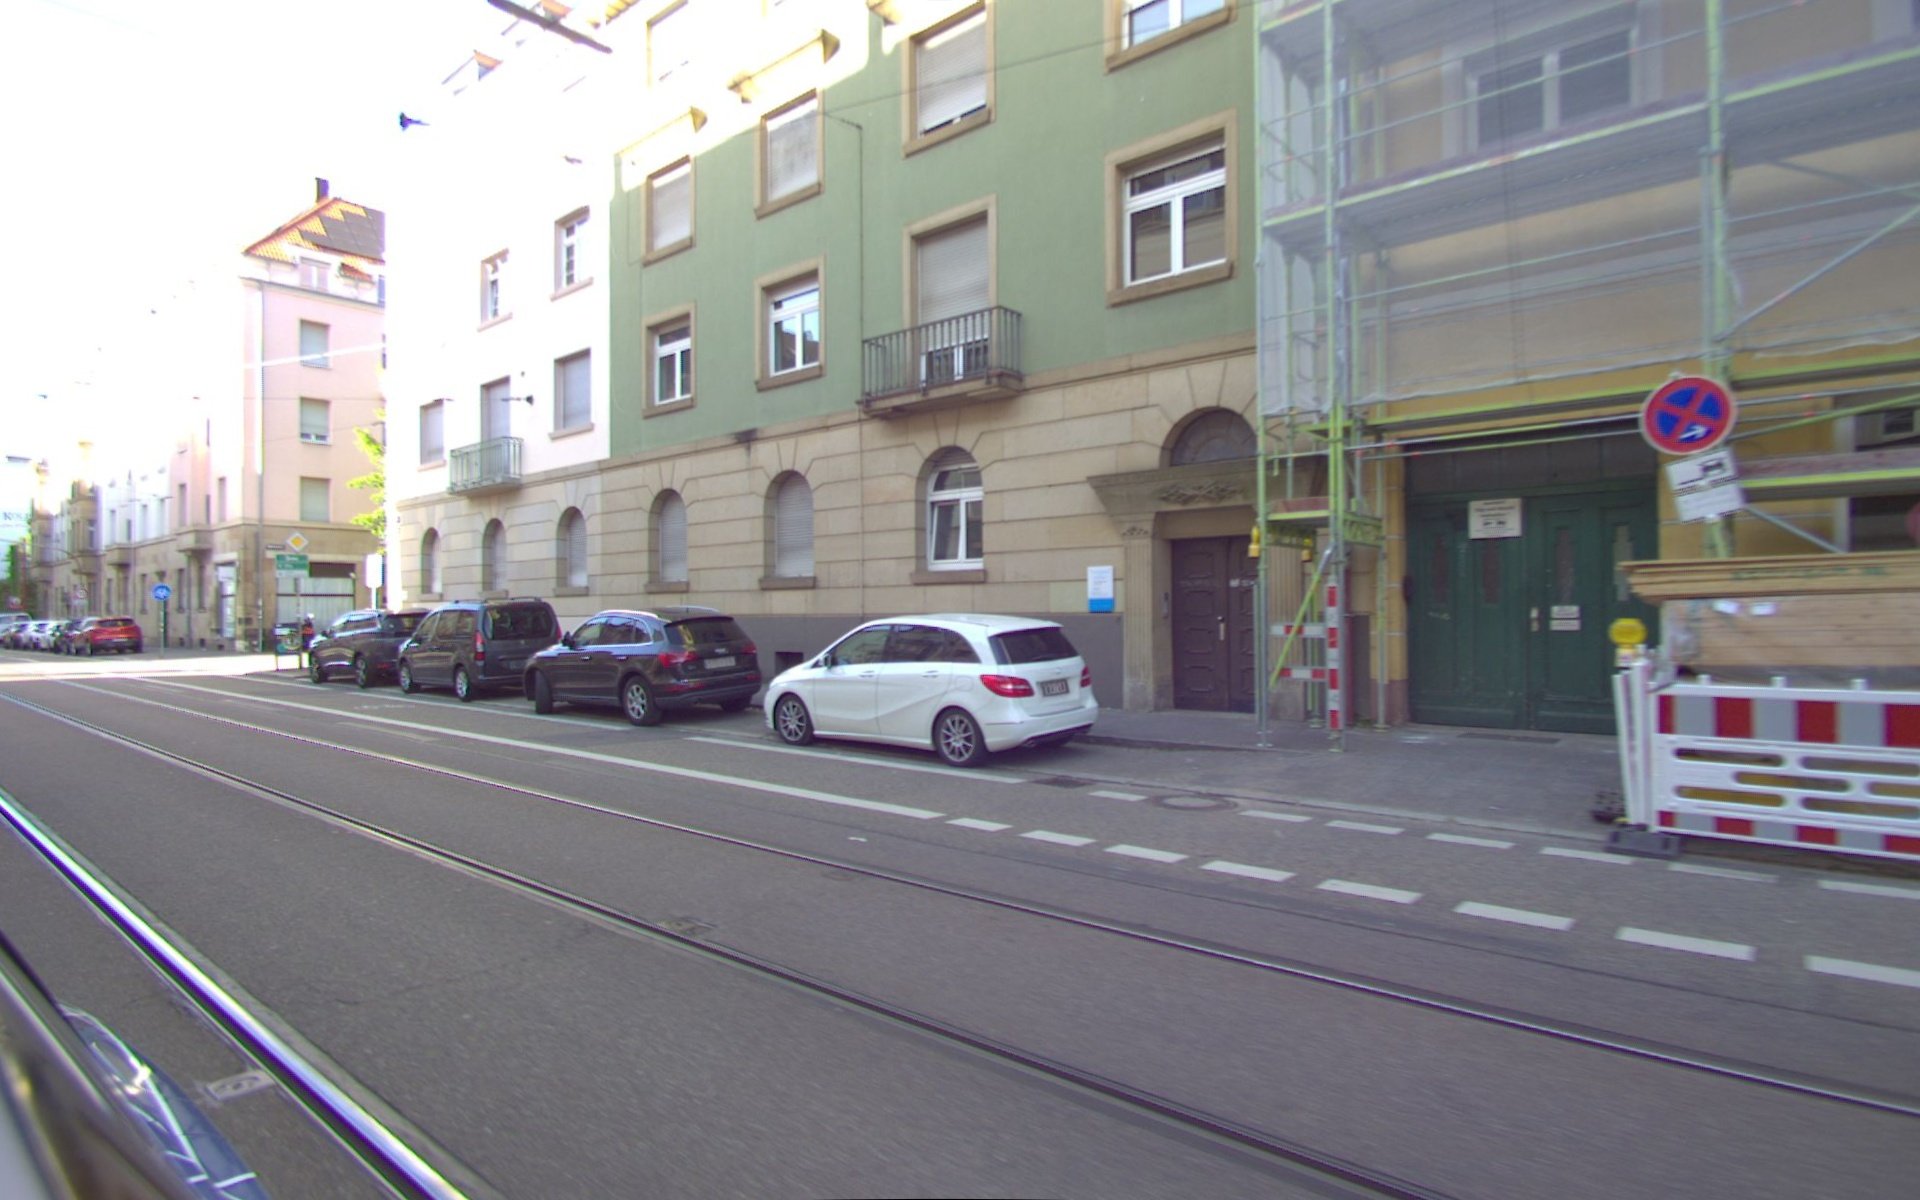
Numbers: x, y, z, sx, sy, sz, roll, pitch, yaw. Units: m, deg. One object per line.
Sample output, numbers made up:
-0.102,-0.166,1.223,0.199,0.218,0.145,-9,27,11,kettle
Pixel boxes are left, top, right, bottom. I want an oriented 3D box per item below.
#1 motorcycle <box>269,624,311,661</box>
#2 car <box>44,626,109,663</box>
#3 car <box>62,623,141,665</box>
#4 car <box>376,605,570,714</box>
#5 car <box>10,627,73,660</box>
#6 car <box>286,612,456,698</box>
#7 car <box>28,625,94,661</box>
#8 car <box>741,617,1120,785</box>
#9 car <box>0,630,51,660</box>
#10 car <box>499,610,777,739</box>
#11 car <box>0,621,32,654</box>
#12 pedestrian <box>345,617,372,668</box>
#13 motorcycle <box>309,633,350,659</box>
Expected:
-26.938,1.699,40.701,0.934,1.429,2.032,0,-1,-19,motorcycle
-40.164,1.988,45.994,3.017,1.564,1.765,-2,0,41,car
-36.433,1.829,42.912,4.392,1.618,1.766,-2,0,39,car
-9.533,1.069,19.634,4.526,1.830,1.764,-2,0,42,car
-48.275,2.262,53.169,4.360,1.558,1.755,-2,0,39,car
-13.423,1.195,22.944,4.662,1.703,1.766,-2,0,39,car
-44.371,2.082,49.921,4.174,1.634,1.766,-2,0,39,car
-0.498,1.005,11.622,4.387,1.514,1.700,-2,0,42,car
-52.210,2.480,56.318,4.356,1.535,1.765,-2,0,40,car
-5.009,1.041,15.420,4.603,1.639,1.766,-2,0,39,car
-59.653,2.344,63.091,5.247,1.963,1.953,-2,0,40,car
-20.729,1.464,34.887,0.731,1.725,0.600,-2,-2,40,pedestrian
-25.985,1.880,41.756,0.549,1.043,2.037,-1,-1,-3,motorcycle
